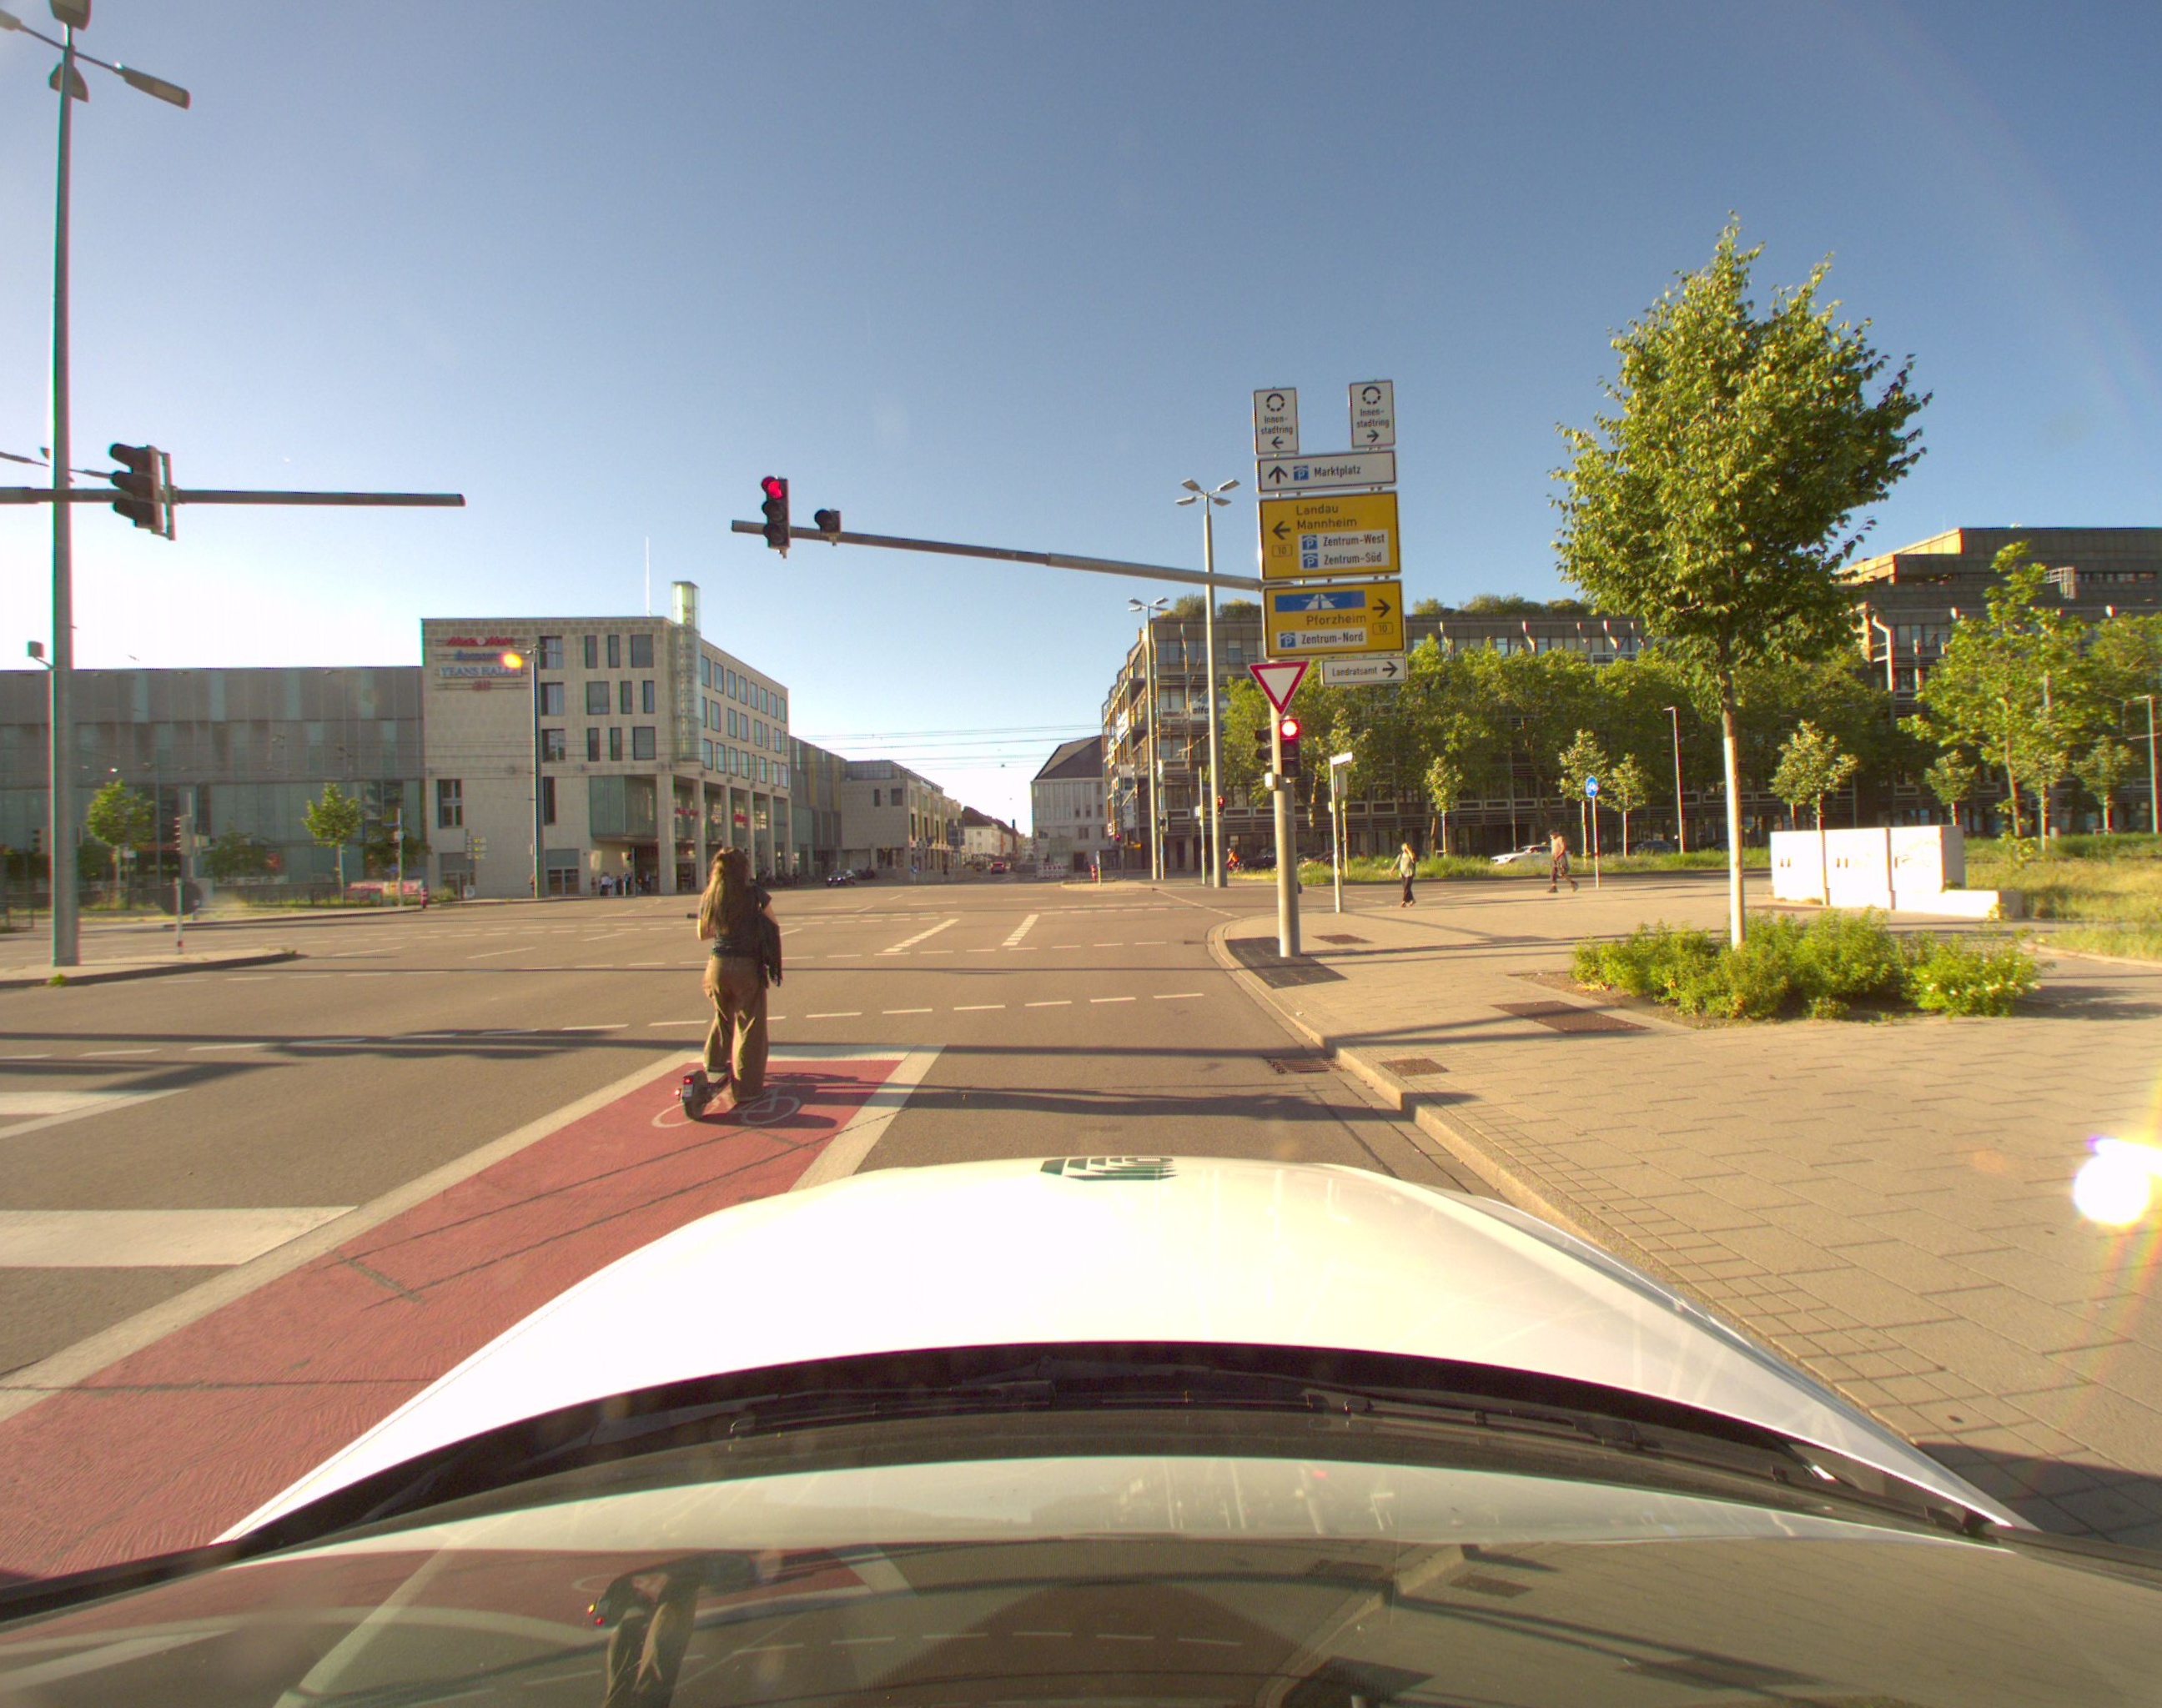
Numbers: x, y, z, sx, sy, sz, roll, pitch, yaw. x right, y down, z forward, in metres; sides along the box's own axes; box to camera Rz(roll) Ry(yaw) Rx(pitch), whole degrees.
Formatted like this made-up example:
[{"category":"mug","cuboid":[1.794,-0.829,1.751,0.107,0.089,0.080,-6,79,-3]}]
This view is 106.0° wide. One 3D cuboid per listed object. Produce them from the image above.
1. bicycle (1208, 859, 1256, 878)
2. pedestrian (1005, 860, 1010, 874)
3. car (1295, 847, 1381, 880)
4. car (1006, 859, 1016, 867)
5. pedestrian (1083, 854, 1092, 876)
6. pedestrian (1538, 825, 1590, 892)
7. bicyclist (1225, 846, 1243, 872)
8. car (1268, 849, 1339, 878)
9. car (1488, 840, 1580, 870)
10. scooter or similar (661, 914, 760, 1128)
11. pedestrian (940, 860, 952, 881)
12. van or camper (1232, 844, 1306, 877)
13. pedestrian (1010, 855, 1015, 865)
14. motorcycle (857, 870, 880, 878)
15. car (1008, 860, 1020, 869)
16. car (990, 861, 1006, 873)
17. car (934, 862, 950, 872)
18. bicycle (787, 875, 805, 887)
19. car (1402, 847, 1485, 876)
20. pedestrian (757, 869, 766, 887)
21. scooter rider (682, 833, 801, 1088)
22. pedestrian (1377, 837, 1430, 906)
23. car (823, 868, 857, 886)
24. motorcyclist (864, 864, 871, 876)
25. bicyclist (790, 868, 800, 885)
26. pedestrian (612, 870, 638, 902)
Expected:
[{"category":"bicycle","cuboid":[8.688,0.822,47.061,2.561,0.975,1.047,-2,0,-1]},{"category":"pedestrian","cuboid":[-9.089,1.587,100.637,0.490,1.664,0.529,0,-1,-12]},{"category":"car","cuboid":[14.557,0.531,46.224,4.287,1.684,1.820,-2,0,-9]},{"category":"car","cuboid":[-14.315,1.877,166.757,1.652,1.458,3.543,-2,0,2]},{"category":"pedestrian","cuboid":[0.512,0.872,64.796,0.697,1.688,0.620,-2,0,2]},{"category":"pedestrian","cuboid":[12.655,0.114,21.361,0.869,1.706,0.768,-2,0,0]},{"category":"bicyclist","cuboid":[8.834,0.308,47.078,0.820,1.474,0.652,-2,0,-2]},{"category":"car","cuboid":[13.844,0.572,50.801,3.973,1.684,1.761,-2,0,0]},{"category":"car","cuboid":[28.656,0.065,51.594,4.831,1.684,1.824,-2,0,-2]},{"category":"scooter or similar","cuboid":[-2.210,0.951,4.915,0.306,1.107,0.835,-2,0,-9]},{"category":"pedestrian","cuboid":[-10.719,1.331,64.576,0.773,1.638,0.627,-2,0,6]},{"category":"van or camper","cuboid":[12.379,0.420,53.823,4.404,2.013,1.993,-2,0,-3]},{"category":"pedestrian","cuboid":[-13.896,1.193,165.269,0.907,1.965,0.823,0,-1,1]},{"category":"motorcycle","cuboid":[-25.832,2.426,99.012,2.600,0.993,1.113,0,-1,-8]},{"category":"car","cuboid":[-12.040,1.833,146.353,1.652,1.458,3.543,-2,0,2]},{"category":"car","cuboid":[-11.012,1.752,108.535,1.652,1.458,3.543,-2,0,2]},{"category":"car","cuboid":[-20.908,1.945,122.939,1.652,1.458,3.543,-2,0,2]},{"category":"bicycle","cuboid":[-24.892,2.357,71.070,0.633,0.903,2.220,-2,0,3]},{"category":"car","cuboid":[22.795,0.466,51.279,4.392,1.684,1.824,-2,0,-2]},{"category":"pedestrian","cuboid":[-29.933,2.209,76.278,0.590,1.646,0.629,-2,0,1]},{"category":"scooter rider","cuboid":[-2.150,0.646,5.198,0.552,1.530,0.448,-2,0,-7]},{"category":"pedestrian","cuboid":[7.860,0.417,19.886,0.875,1.614,0.762,-2,0,-23]},{"category":"car","cuboid":[-20.815,1.975,70.485,1.670,1.357,4.021,-2,0,1]},{"category":"motorcyclist","cuboid":[-26.014,1.950,99.220,0.627,1.406,0.661,0,-1,-7]},{"category":"bicyclist","cuboid":[-24.931,1.936,71.020,0.623,1.448,0.589,-2,0,3]},{"category":"pedestrian","cuboid":[-25.138,1.765,44.917,0.821,1.675,1.004,-2,0,-2]}]
